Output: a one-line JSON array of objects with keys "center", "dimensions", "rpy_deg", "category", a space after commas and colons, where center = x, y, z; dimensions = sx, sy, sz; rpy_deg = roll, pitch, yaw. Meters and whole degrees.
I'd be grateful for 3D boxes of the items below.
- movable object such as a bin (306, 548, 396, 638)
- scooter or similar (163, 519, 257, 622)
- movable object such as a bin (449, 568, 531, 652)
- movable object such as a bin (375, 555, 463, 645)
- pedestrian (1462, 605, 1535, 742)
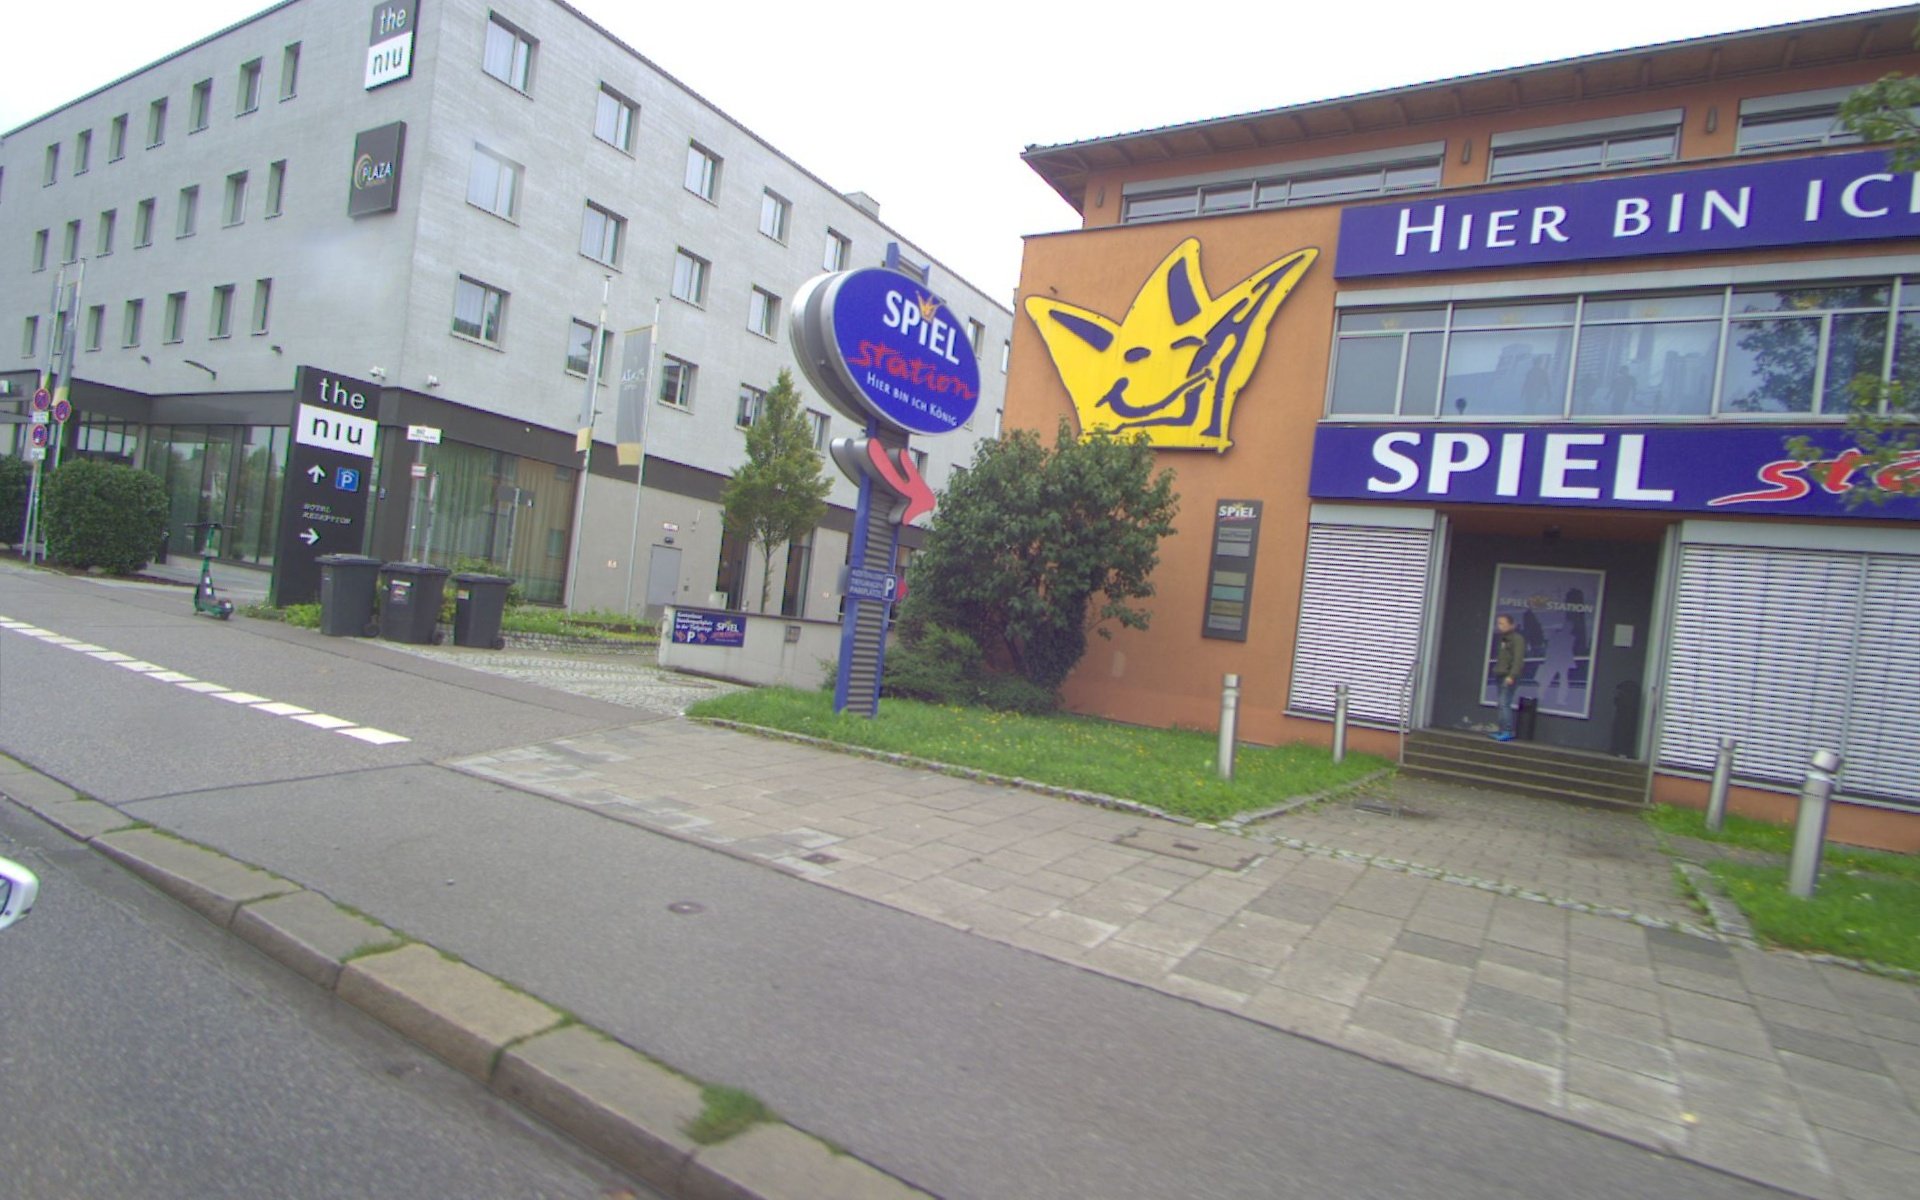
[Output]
[{"center": [-8.043, -0.087, 13.296], "dimensions": [0.644, 1.092, 0.737], "rpy_deg": [7, 1, 33], "category": "movable object such as a bin"}, {"center": [-10.394, -0.420, 13.937], "dimensions": [1.381, 1.296, 0.585], "rpy_deg": [7, 5, 33], "category": "scooter or similar"}, {"center": [-6.654, 0.144, 14.261], "dimensions": [0.644, 1.092, 0.737], "rpy_deg": [7, 1, 33], "category": "movable object such as a bin"}, {"center": [-7.231, 0.006, 13.450], "dimensions": [0.644, 1.092, 0.737], "rpy_deg": [7, 1, 33], "category": "movable object such as a bin"}, {"center": [7.282, 0.984, 13.587], "dimensions": [0.649, 1.734, 0.661], "rpy_deg": [7, 1, 33], "category": "pedestrian"}]
